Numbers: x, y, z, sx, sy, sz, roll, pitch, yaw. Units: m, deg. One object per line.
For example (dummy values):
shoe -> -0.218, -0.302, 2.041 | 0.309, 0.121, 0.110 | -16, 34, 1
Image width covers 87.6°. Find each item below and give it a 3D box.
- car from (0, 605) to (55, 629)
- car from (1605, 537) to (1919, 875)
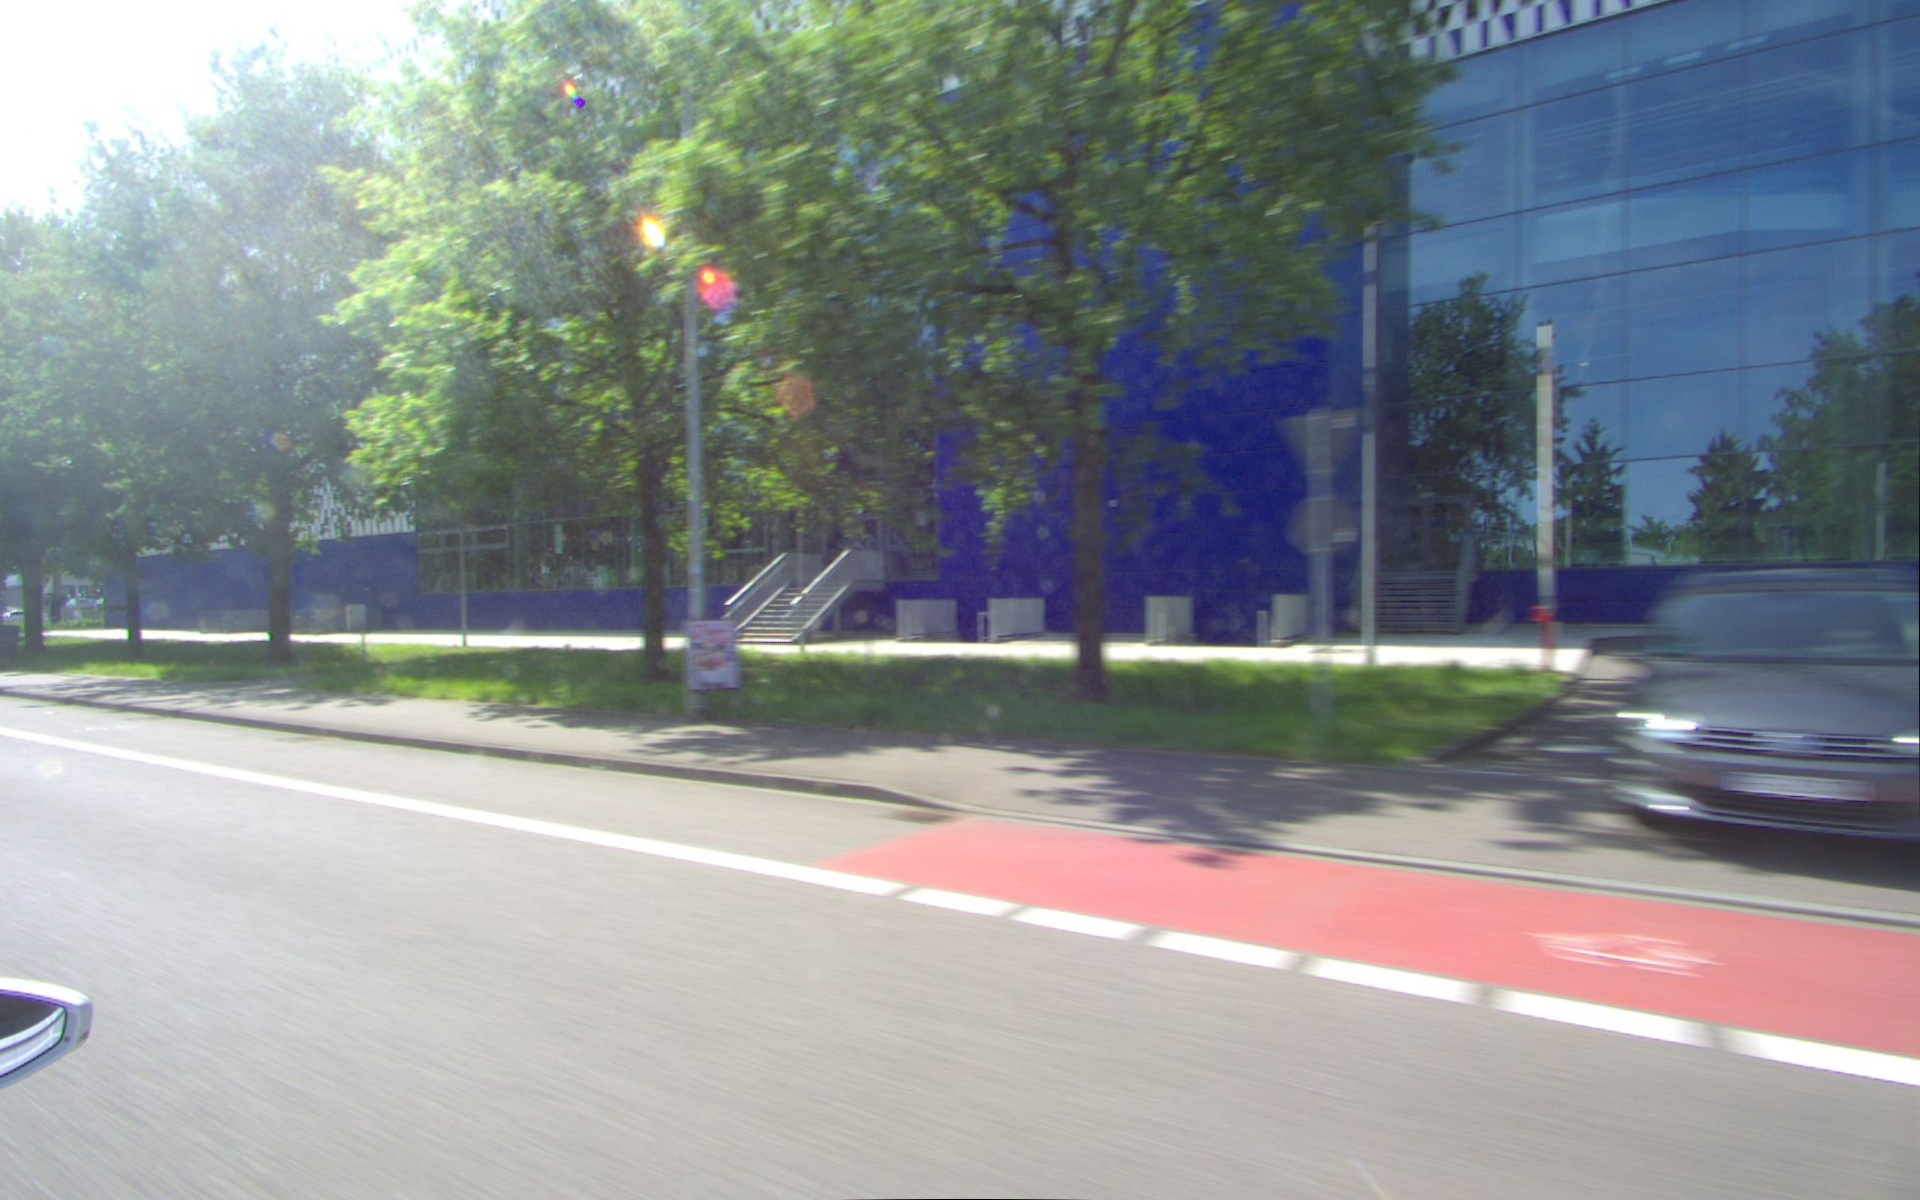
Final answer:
car -> -90.521, 1.646, 96.702 | 1.462, 2.022, 4.384 | 0, 3, 37
car -> 5.914, 0.487, 7.077 | 1.822, 1.716, 4.424 | 0, 1, 39
